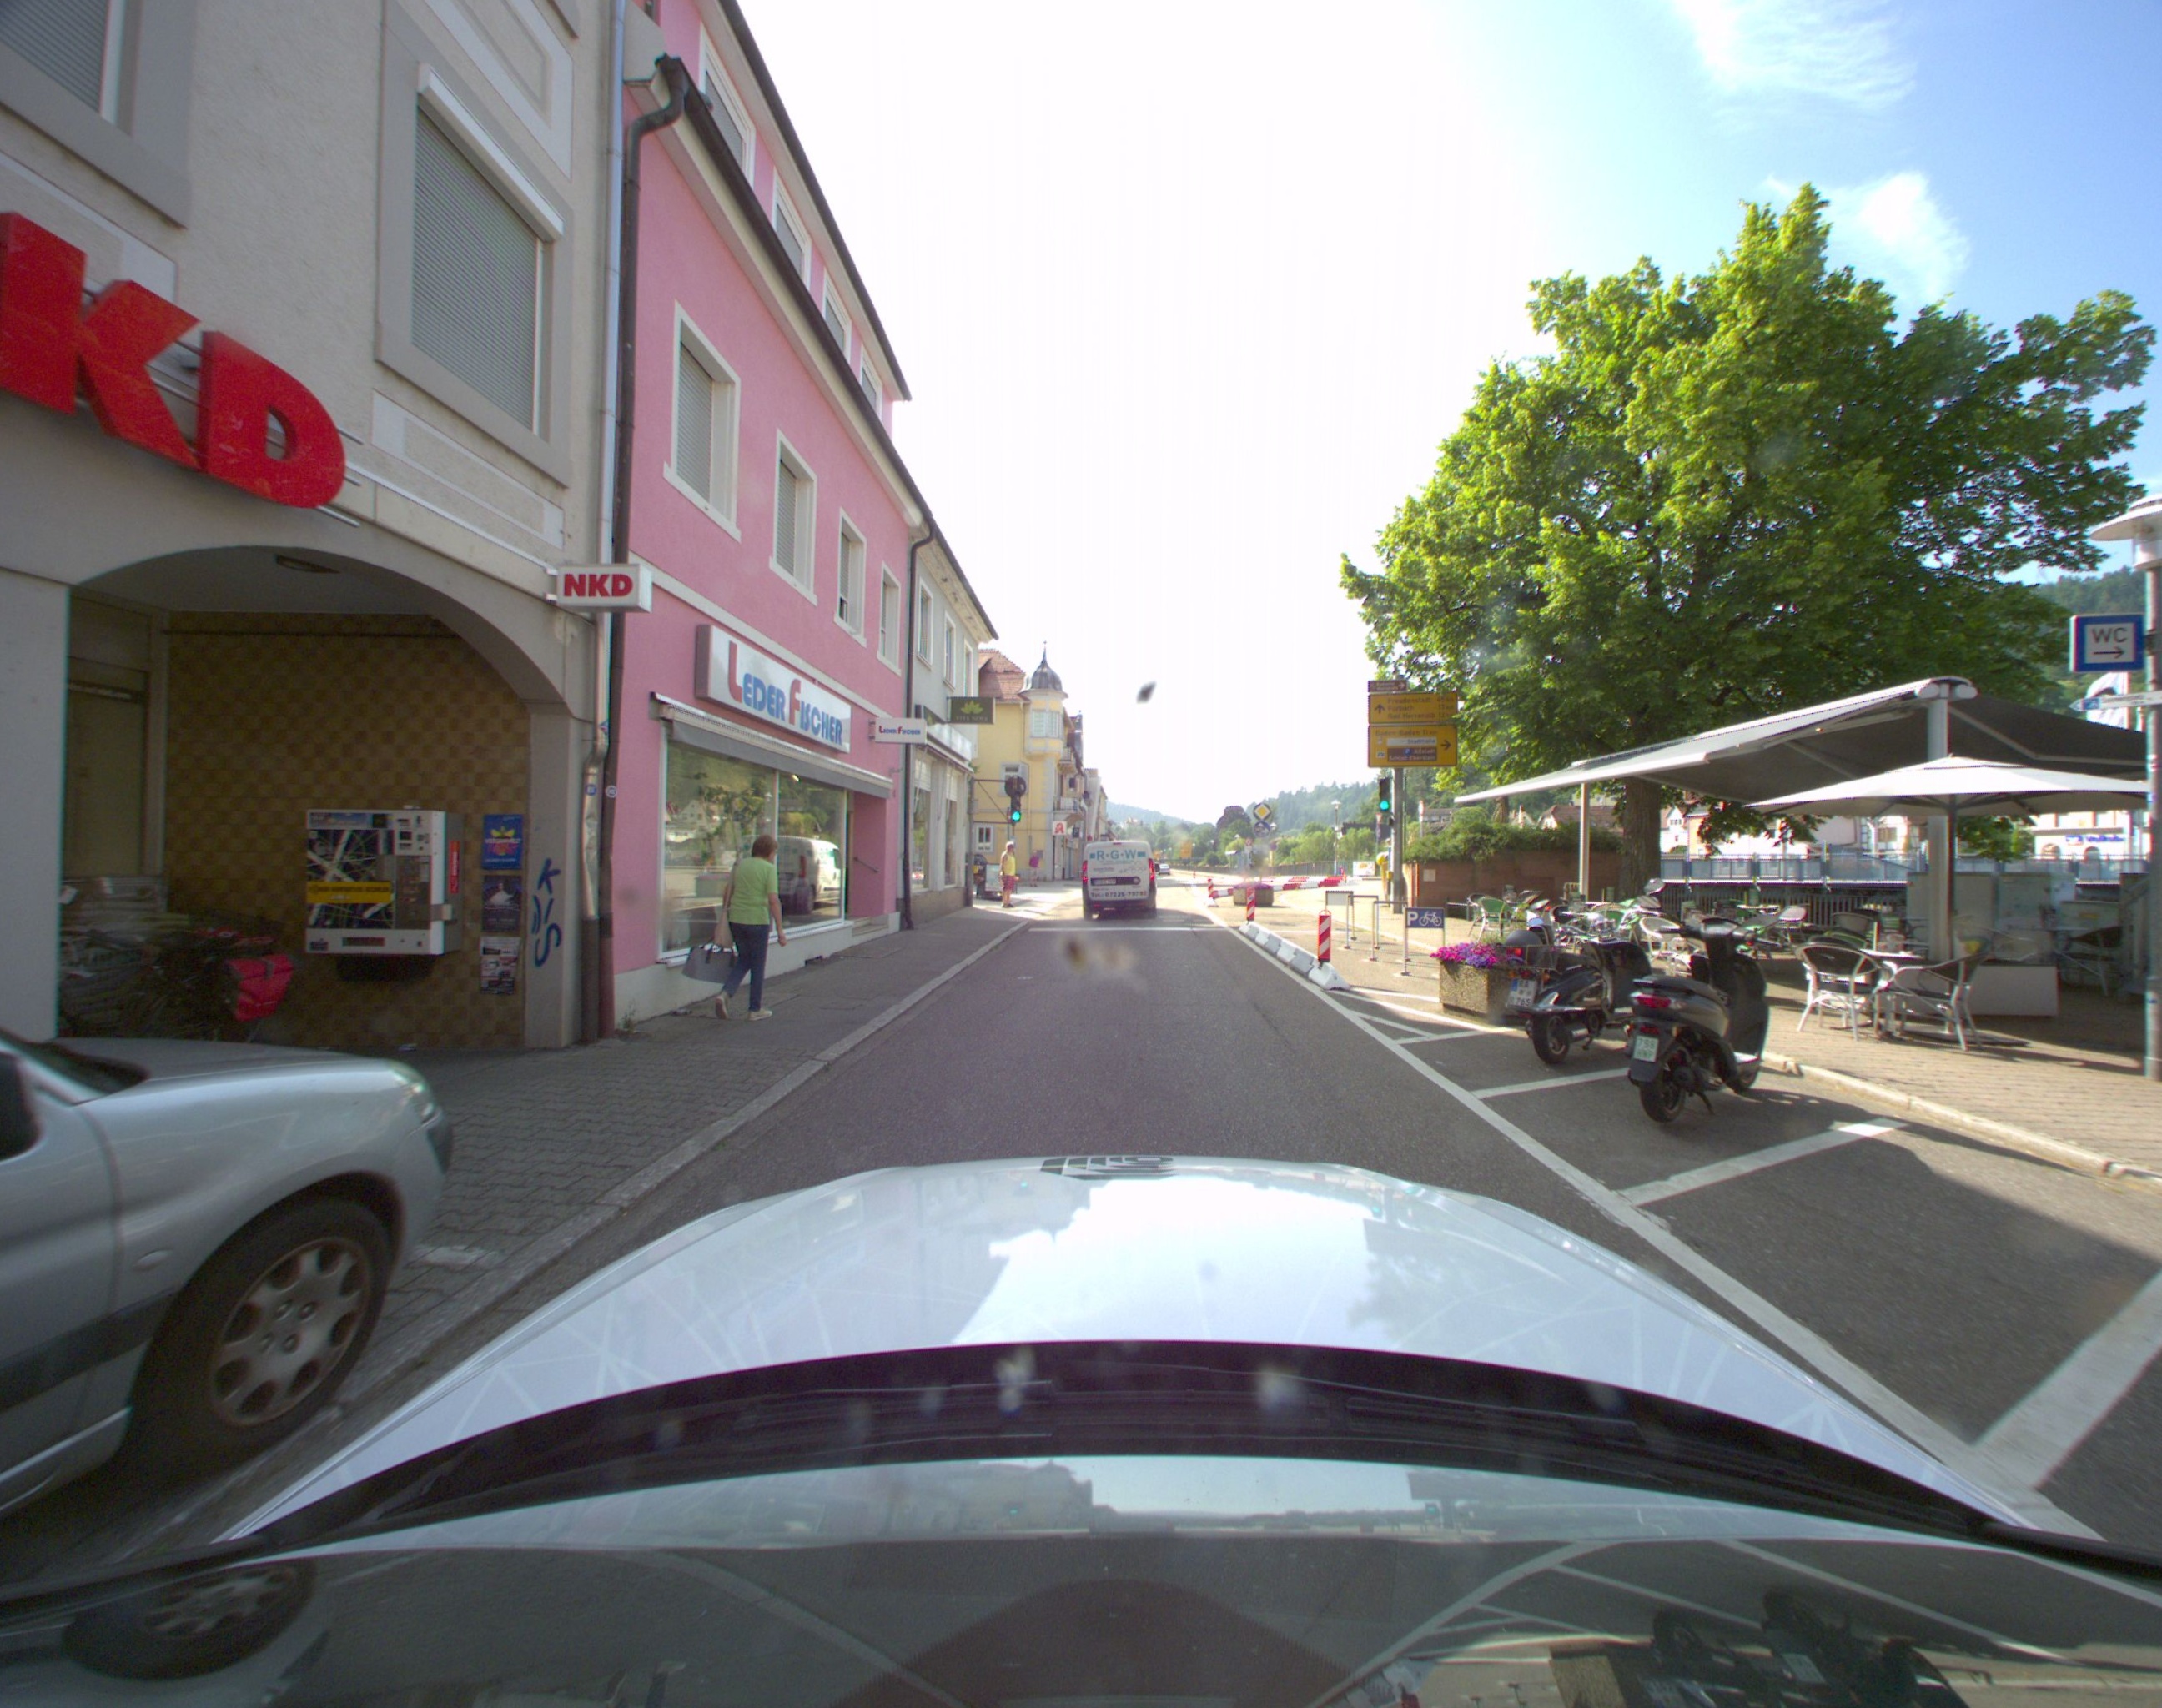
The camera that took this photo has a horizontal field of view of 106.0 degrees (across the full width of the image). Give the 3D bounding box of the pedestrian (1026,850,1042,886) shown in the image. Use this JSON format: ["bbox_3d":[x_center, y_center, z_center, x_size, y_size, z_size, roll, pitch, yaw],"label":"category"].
[{"bbox_3d":[-2.307,0.682,40.251,0.674,1.714,0.618,1,0,5],"label":"pedestrian"}]

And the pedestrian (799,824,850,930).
[{"bbox_3d":[-4.317,0.375,13.697,0.716,1.722,0.669,0,0,-26],"label":"pedestrian"}]

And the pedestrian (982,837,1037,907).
[{"bbox_3d":[-1.991,0.496,22.593,1.008,1.815,0.913,5,-1,33],"label":"pedestrian"}]

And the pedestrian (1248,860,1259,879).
[{"bbox_3d":[15.844,1.411,74.809,0.862,1.706,0.778,1,-1,5],"label":"pedestrian"}]

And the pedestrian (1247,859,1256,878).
[{"bbox_3d":[15.792,1.332,75.463,0.785,1.706,0.492,1,-1,5],"label":"pedestrian"}]

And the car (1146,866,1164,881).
[{"bbox_3d":[8.715,2.297,95.955,1.985,1.662,4.004,1,-1,4],"label":"car"}]

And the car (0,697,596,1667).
[{"bbox_3d":[-2.771,0.564,1.038,1.700,1.739,4.146,2,0,1],"label":"car"}]

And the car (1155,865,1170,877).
[{"bbox_3d":[11.241,2.335,112.639,1.985,1.662,4.004,1,-1,4],"label":"car"}]

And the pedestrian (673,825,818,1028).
[{"bbox_3d":[-2.904,0.593,7.140,0.782,1.632,0.860,3,0,5],"label":"pedestrian"}]

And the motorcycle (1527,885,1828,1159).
[{"bbox_3d":[3.708,0.861,4.997,2.100,1.270,0.919,0,0,-37],"label":"motorcycle"}]

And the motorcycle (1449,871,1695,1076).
[{"bbox_3d":[3.904,0.832,6.444,1.907,1.358,0.908,0,0,-32],"label":"motorcycle"}]

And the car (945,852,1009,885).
[{"bbox_3d":[-5.477,0.716,42.536,1.929,1.543,3.921,2,1,-30],"label":"car"}]

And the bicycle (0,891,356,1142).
[{"bbox_3d":[-5.438,0.829,4.864,0.517,1.122,1.825,0,0,2],"label":"bicycle"}]

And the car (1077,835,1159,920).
[{"bbox_3d":[1.026,0.529,20.819,1.835,1.906,4.320,1,0,5],"label":"car"}]
